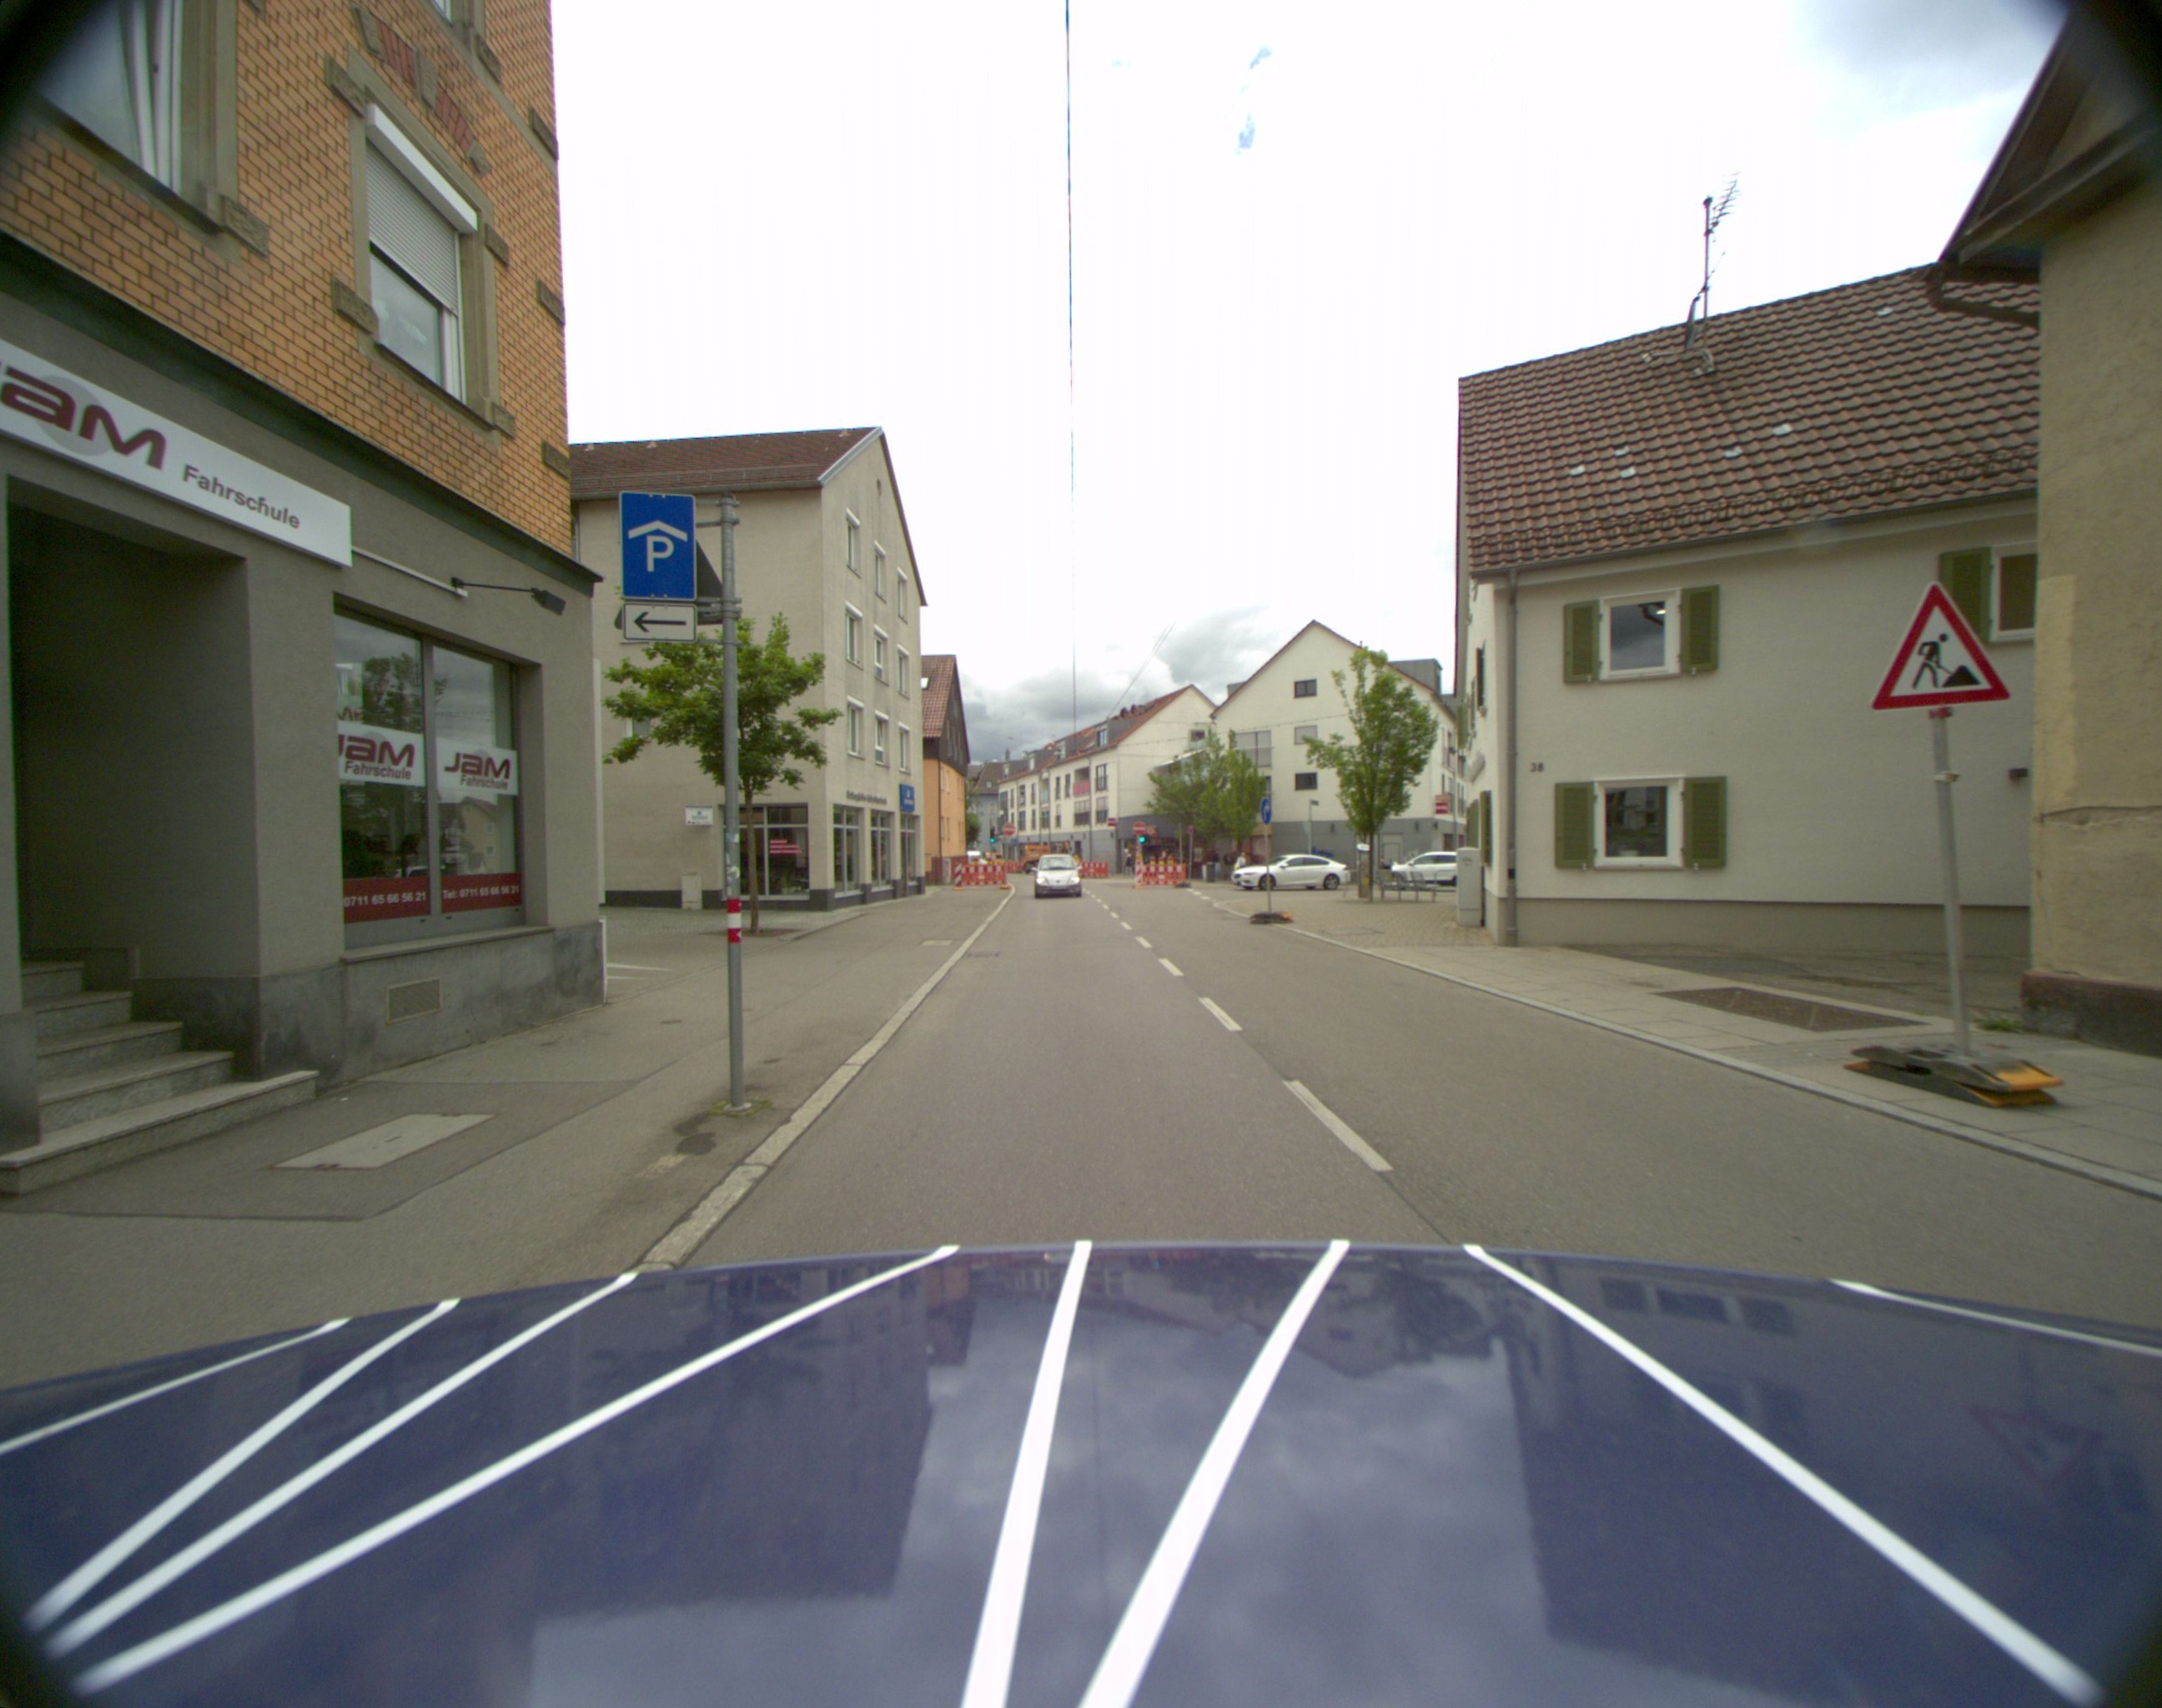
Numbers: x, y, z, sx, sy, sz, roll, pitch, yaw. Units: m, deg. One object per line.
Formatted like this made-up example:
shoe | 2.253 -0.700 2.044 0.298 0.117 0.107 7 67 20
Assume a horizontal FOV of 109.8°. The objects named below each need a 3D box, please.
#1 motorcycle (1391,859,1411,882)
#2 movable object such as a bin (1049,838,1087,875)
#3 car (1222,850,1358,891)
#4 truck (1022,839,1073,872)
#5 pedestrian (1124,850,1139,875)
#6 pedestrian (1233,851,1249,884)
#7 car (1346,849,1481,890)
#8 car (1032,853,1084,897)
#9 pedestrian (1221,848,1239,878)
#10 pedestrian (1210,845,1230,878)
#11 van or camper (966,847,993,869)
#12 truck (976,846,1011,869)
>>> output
motorcycle | 17.239 0.887 40.908 0.571 1.141 1.790 -4 -1 36
movable object such as a bin | -1.060 0.151 59.801 1.846 2.747 4.498 -1 1 -16
car | 8.583 0.644 31.405 4.920 1.468 2.247 -2 0 -13
truck | -3.097 0.162 67.459 2.742 2.708 6.837 -1 -1 -18
pedestrian | 3.560 0.606 53.528 0.835 1.702 0.815 -1 0 -12
pedestrian | 7.782 0.639 36.976 0.682 1.583 0.879 0 1 7
car | 13.725 0.633 31.414 4.906 1.548 2.025 -2 0 29
car | -0.838 0.786 29.254 1.858 1.547 4.353 0 -1 0
pedestrian | 8.887 0.525 45.300 0.695 1.780 0.716 -1 1 -44
pedestrian | 8.205 0.460 44.909 0.818 1.914 0.782 -1 1 -40
van or camper | -12.692 0.555 94.479 2.328 2.591 6.199 0 -1 -17
truck | -9.941 0.467 85.793 2.424 2.451 6.297 0 -1 -22
